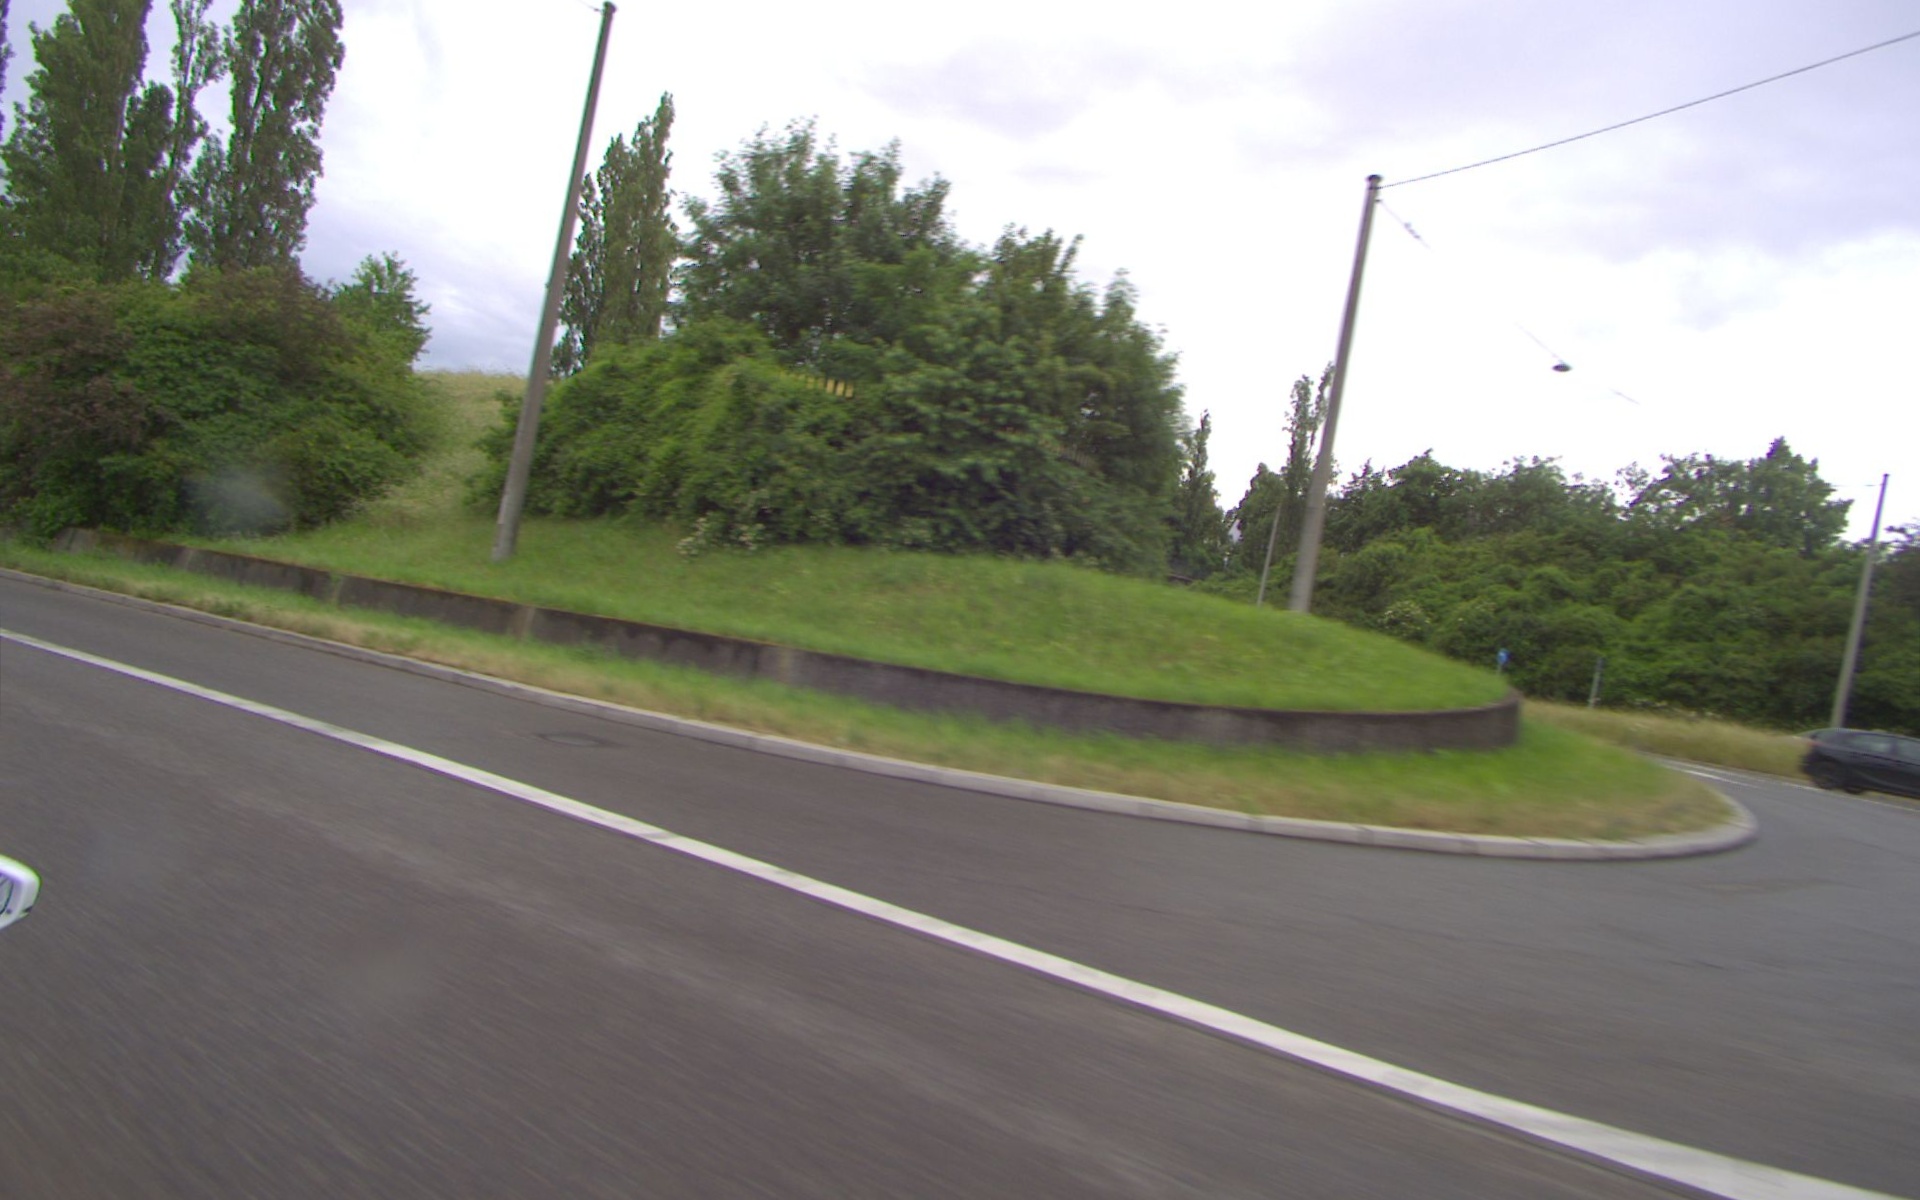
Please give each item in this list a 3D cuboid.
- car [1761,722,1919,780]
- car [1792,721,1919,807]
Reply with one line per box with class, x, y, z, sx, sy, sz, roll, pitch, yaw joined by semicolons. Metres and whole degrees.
car;32.579;5.541;37.205;1.762;1.364;4.206;11;-4;-23
car;20.476;3.679;21.355;1.658;1.430;3.887;9;-1;-30
